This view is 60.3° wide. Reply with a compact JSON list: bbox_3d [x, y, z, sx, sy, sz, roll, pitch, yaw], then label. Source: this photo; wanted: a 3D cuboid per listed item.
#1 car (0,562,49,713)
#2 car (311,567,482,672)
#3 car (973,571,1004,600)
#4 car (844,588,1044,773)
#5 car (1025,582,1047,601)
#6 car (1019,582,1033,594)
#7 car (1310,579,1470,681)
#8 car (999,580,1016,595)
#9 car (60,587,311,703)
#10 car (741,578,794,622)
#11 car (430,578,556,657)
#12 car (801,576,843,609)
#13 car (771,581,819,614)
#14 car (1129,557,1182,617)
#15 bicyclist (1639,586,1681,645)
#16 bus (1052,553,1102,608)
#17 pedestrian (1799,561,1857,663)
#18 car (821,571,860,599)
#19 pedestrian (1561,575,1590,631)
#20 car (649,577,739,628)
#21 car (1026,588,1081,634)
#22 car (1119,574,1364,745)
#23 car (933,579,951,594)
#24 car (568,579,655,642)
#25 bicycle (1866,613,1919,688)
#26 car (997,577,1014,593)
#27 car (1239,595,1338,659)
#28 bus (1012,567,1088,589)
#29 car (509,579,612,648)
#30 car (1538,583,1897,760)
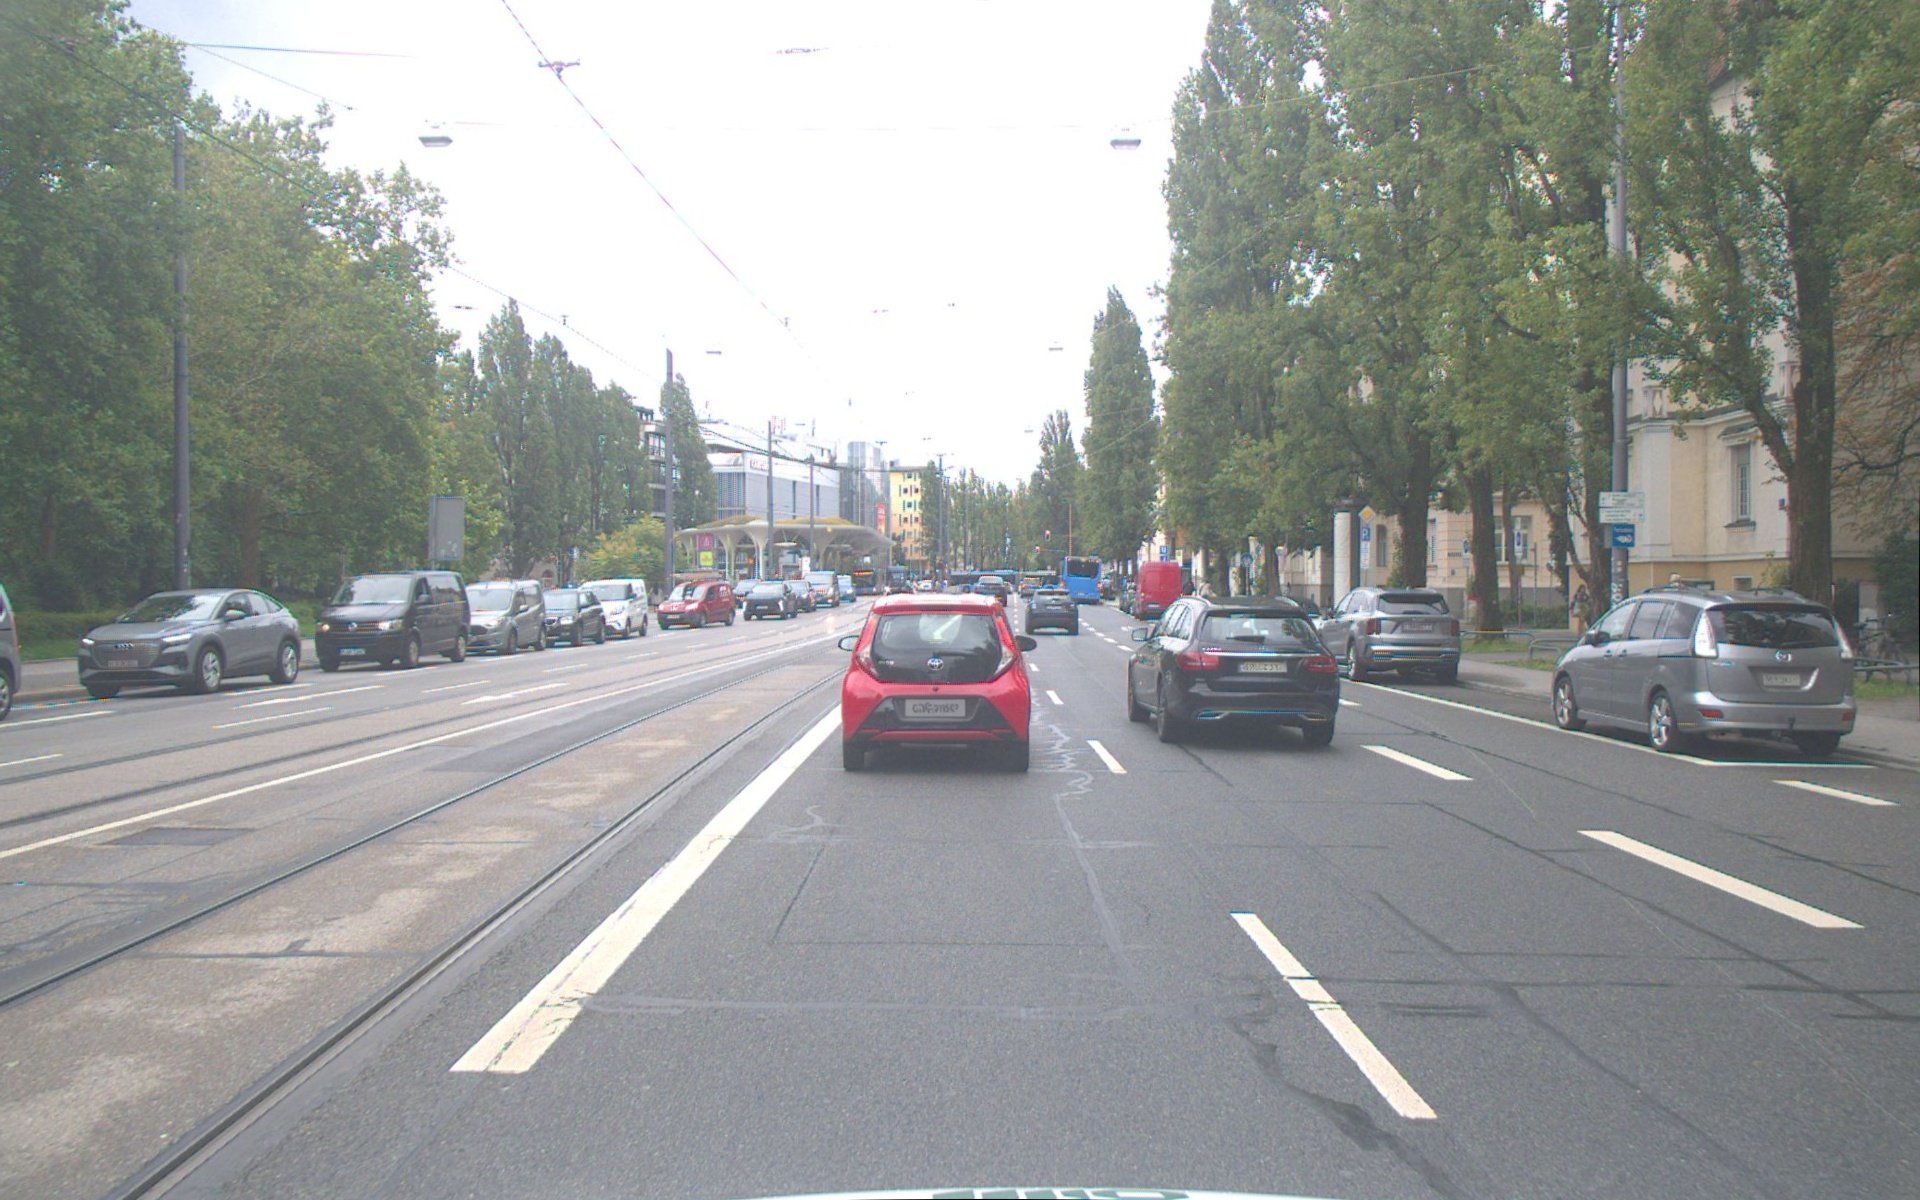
[{"bbox_3d":[-12.435,0.466,18.665,1.762,1.810,4.473,-1,0,1],"label":"car"},{"bbox_3d":[-11.675,0.362,34.667,1.762,2.025,5.040,-1,0,1],"label":"car"},{"bbox_3d":[1.587,-0.840,93.309,1.700,1.576,4.577,0,1,1],"label":"car"},{"bbox_3d":[-0.173,0.640,15.065,1.595,1.465,3.375,1,0,-2],"label":"car"},{"bbox_3d":[6.175,-0.672,134.689,1.744,1.512,4.001,0,0,1],"label":"car"},{"bbox_3d":[8.285,-1.459,207.438,1.744,1.512,4.001,0,0,1],"label":"car"},{"bbox_3d":[8.014,0.510,31.257,1.762,1.773,4.700,0,0,0],"label":"car"},{"bbox_3d":[5.907,-1.536,205.287,1.766,1.624,4.001,0,-2,5],"label":"car"},{"bbox_3d":[-12.195,0.641,26.402,1.762,1.663,4.589,-1,0,1],"label":"car"},{"bbox_3d":[-8.427,-0.022,72.720,1.763,1.819,4.518,-2,0,-1],"label":"car"},{"bbox_3d":[-11.699,0.414,41.727,1.762,1.819,4.519,-2,0,1],"label":"car"},{"bbox_3d":[-7.516,-0.407,90.362,1.762,1.694,4.520,-2,0,2],"label":"car"},{"bbox_3d":[-8.215,-0.140,82.889,1.762,1.557,4.520,-2,0,2],"label":"car"},{"bbox_3d":[8.971,-0.655,76.215,1.952,2.619,4.681,0,2,1],"label":"car"},{"bbox_3d":[16.049,0.356,37.931,0.646,1.337,0.706,-1,0,-1],"label":"bicyclist"},{"bbox_3d":[7.932,-1.422,113.570,2.846,3.455,10.809,0,2,1],"label":"bus"},{"bbox_3d":[15.493,0.205,29.547,0.579,1.768,0.824,0,2,1],"label":"pedestrian"},{"bbox_3d":[-7.446,-0.933,103.329,1.762,1.694,4.521,-2,0,4],"label":"car"},{"bbox_3d":[17.582,0.074,47.264,0.541,1.574,0.738,0,2,0],"label":"pedestrian"},{"bbox_3d":[-10.201,0.075,63.749,1.761,1.819,4.523,-2,0,14],"label":"car"},{"bbox_3d":[3.194,0.355,57.022,1.744,1.512,4.001,0,0,1],"label":"car"},{"bbox_3d":[2.890,0.525,17.991,1.825,1.576,4.703,-1,1,0],"label":"car"},{"bbox_3d":[-1.818,-1.352,171.012,1.744,1.512,4.001,0,0,1],"label":"car"},{"bbox_3d":[-11.329,0.311,54.044,1.762,1.894,4.631,-2,0,1],"label":"car"},{"bbox_3d":[13.679,0.716,24.032,0.347,1.005,1.228,0,2,1],"label":"bicycle"},{"bbox_3d":[5.448,-1.809,198.477,1.766,1.624,4.001,0,-2,5],"label":"car"},{"bbox_3d":[8.173,0.640,41.463,1.762,1.534,4.001,0,0,1],"label":"car"},{"bbox_3d":[12.335,-3.036,227.544,10.344,2.895,1.999,0,2,-3],"label":"bus"},{"bbox_3d":[-11.448,0.359,47.690,1.762,1.819,4.519,-2,0,1],"label":"car"},{"bbox_3d":[7.893,0.651,17.773,1.762,1.640,4.547,0,0,0],"label":"car"}]
